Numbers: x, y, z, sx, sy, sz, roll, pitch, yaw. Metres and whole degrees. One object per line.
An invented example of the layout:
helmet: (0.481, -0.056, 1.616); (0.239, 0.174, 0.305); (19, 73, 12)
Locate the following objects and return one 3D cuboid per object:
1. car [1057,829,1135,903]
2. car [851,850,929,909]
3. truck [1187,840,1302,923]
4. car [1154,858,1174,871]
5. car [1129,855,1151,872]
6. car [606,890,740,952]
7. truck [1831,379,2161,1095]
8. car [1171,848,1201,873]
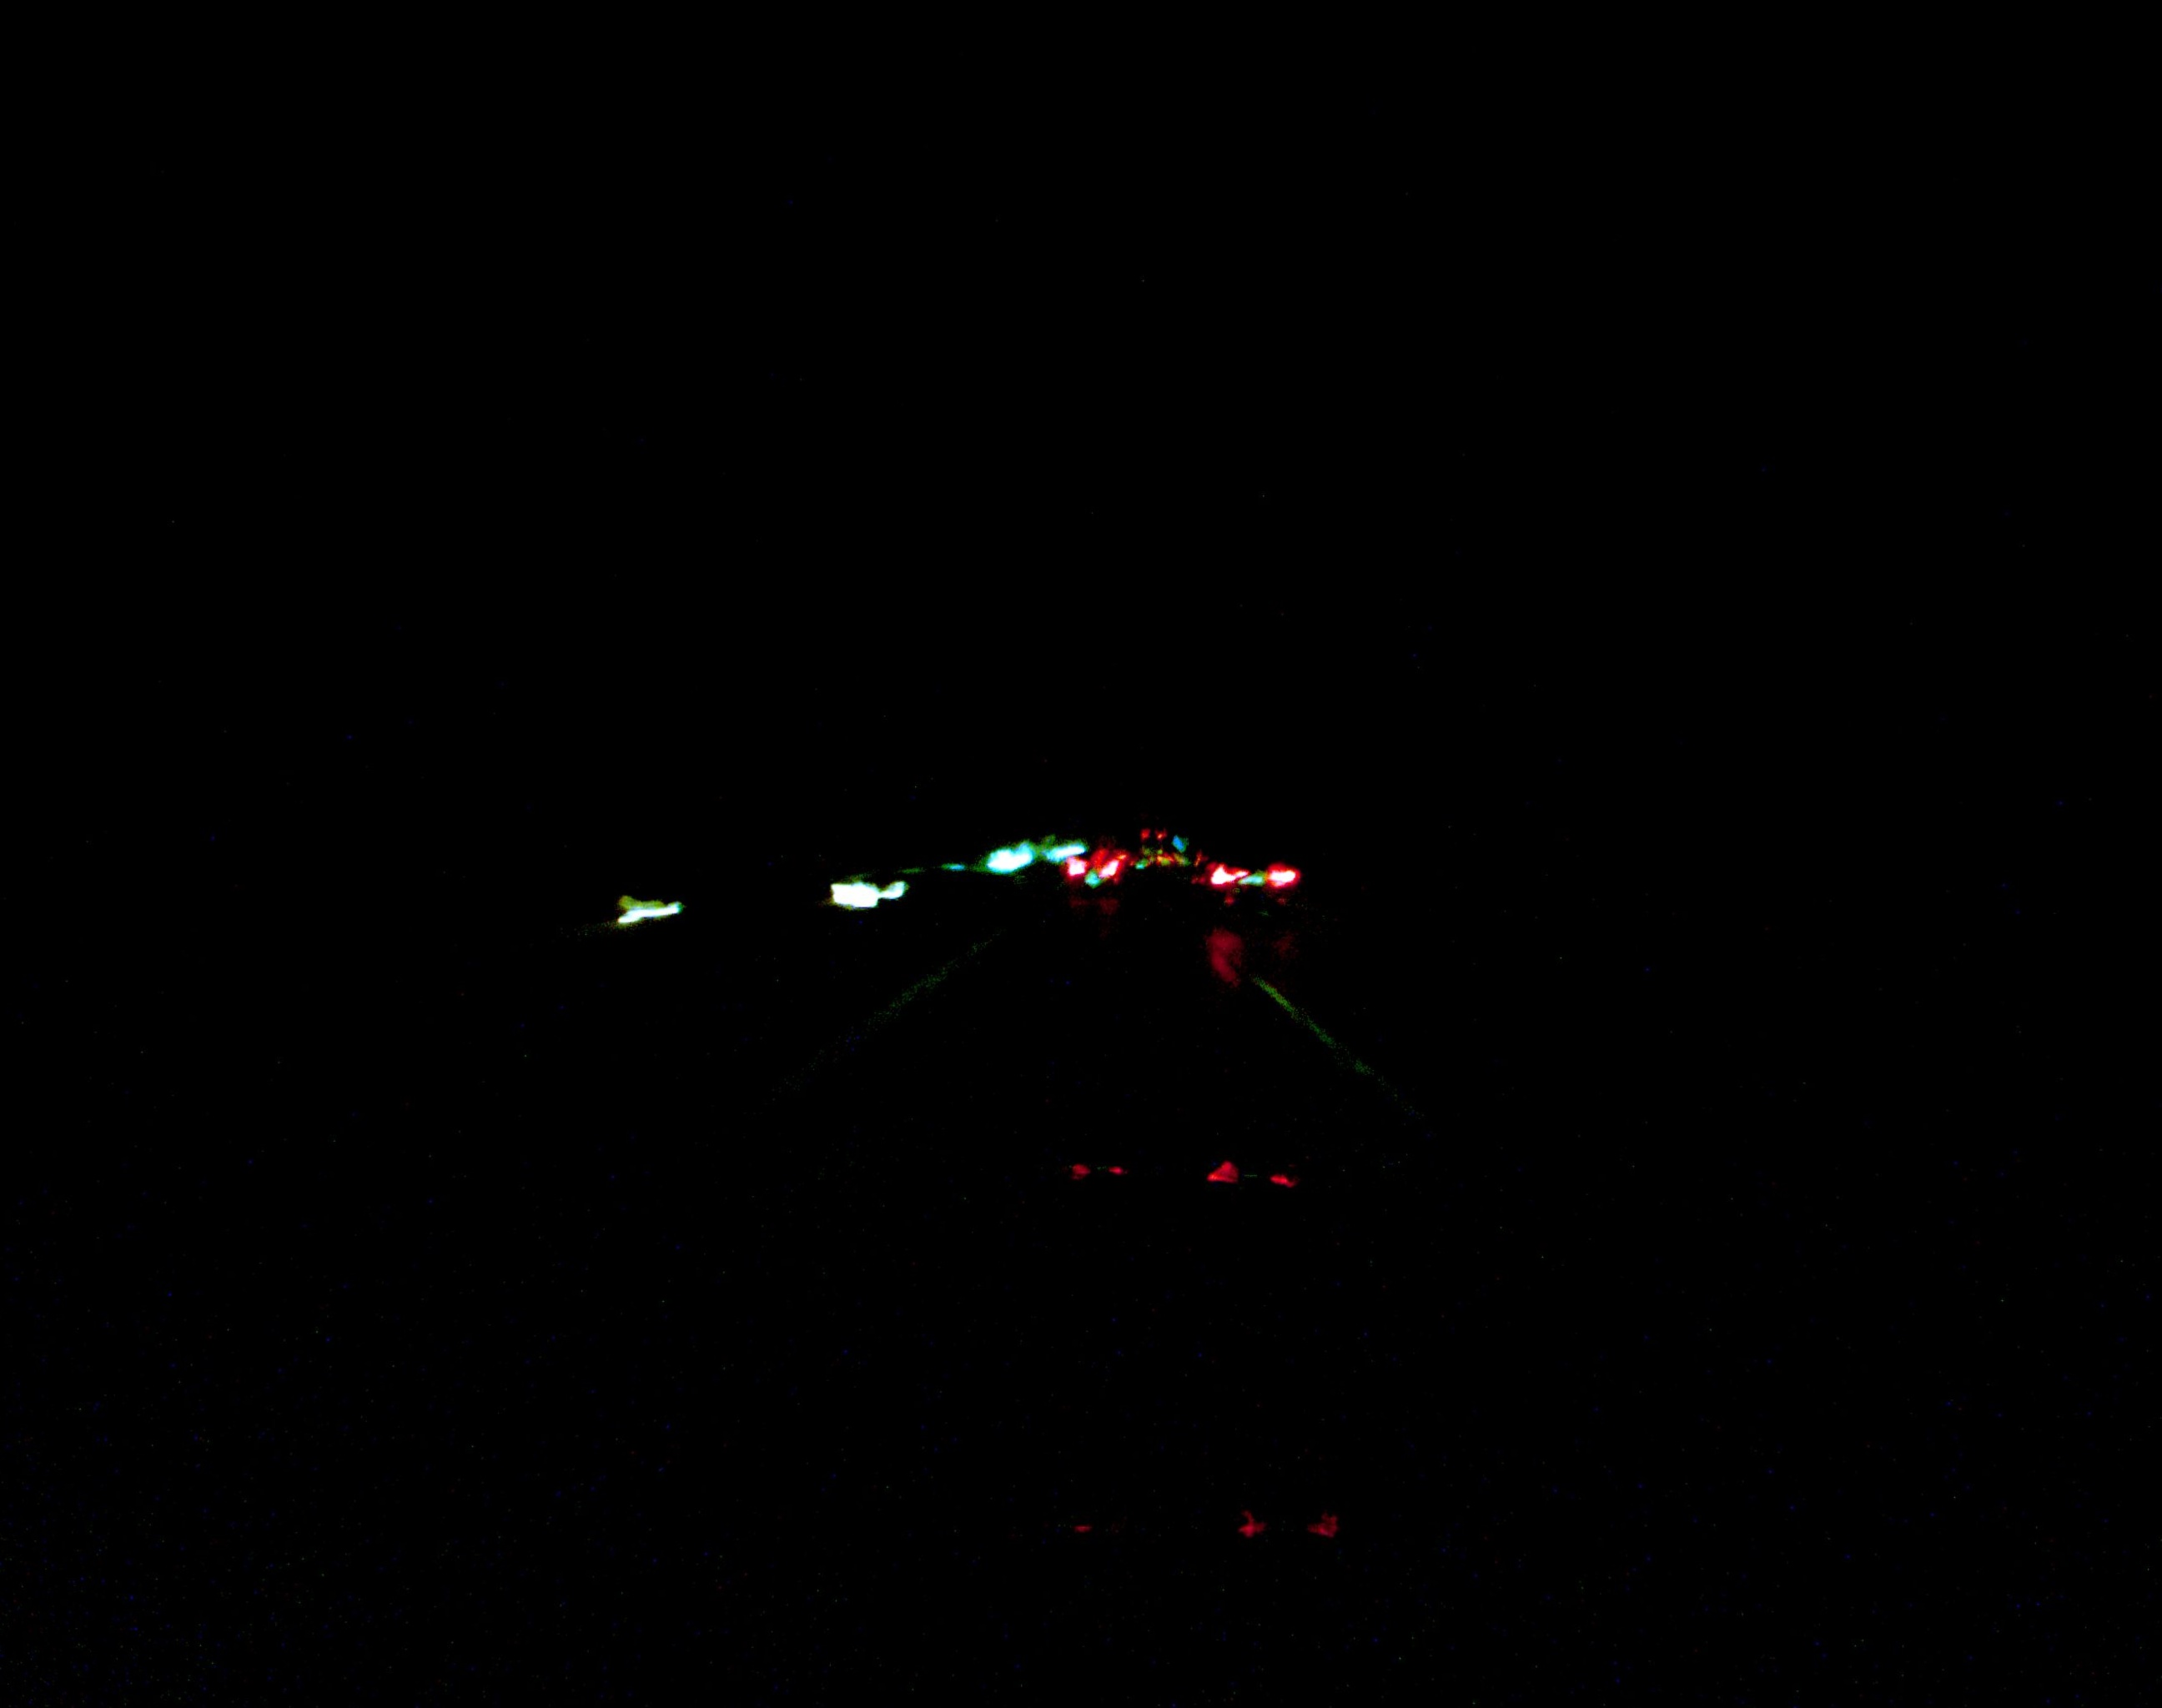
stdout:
car: (0.514, 0.414, 32.484); (2.702, 2.534, 5.829); (-3, 0, -1)
car: (-6.931, 0.881, 30.018); (1.778, 2.014, 4.381); (0, 0, 0)
truck: (3.691, 0.577, 19.259); (1.837, 1.696, 4.855); (0, 0, 1)
car: (9.599, 1.194, 94.644); (1.888, 1.486, 4.961); (0, 0, 0)
car: (5.204, 0.839, 72.169); (1.607, 1.412, 3.791); (-1, 0, 0)
car: (-12.067, 1.926, 24.466); (1.778, 1.526, 4.381); (0, 0, 0)
truck: (7.568, -0.673, 3.275); (2.848, 4.103, 7.018); (0, 0, 2)
car: (9.156, 0.557, 71.647); (2.038, 1.974, 5.409); (-3, 0, 2)
